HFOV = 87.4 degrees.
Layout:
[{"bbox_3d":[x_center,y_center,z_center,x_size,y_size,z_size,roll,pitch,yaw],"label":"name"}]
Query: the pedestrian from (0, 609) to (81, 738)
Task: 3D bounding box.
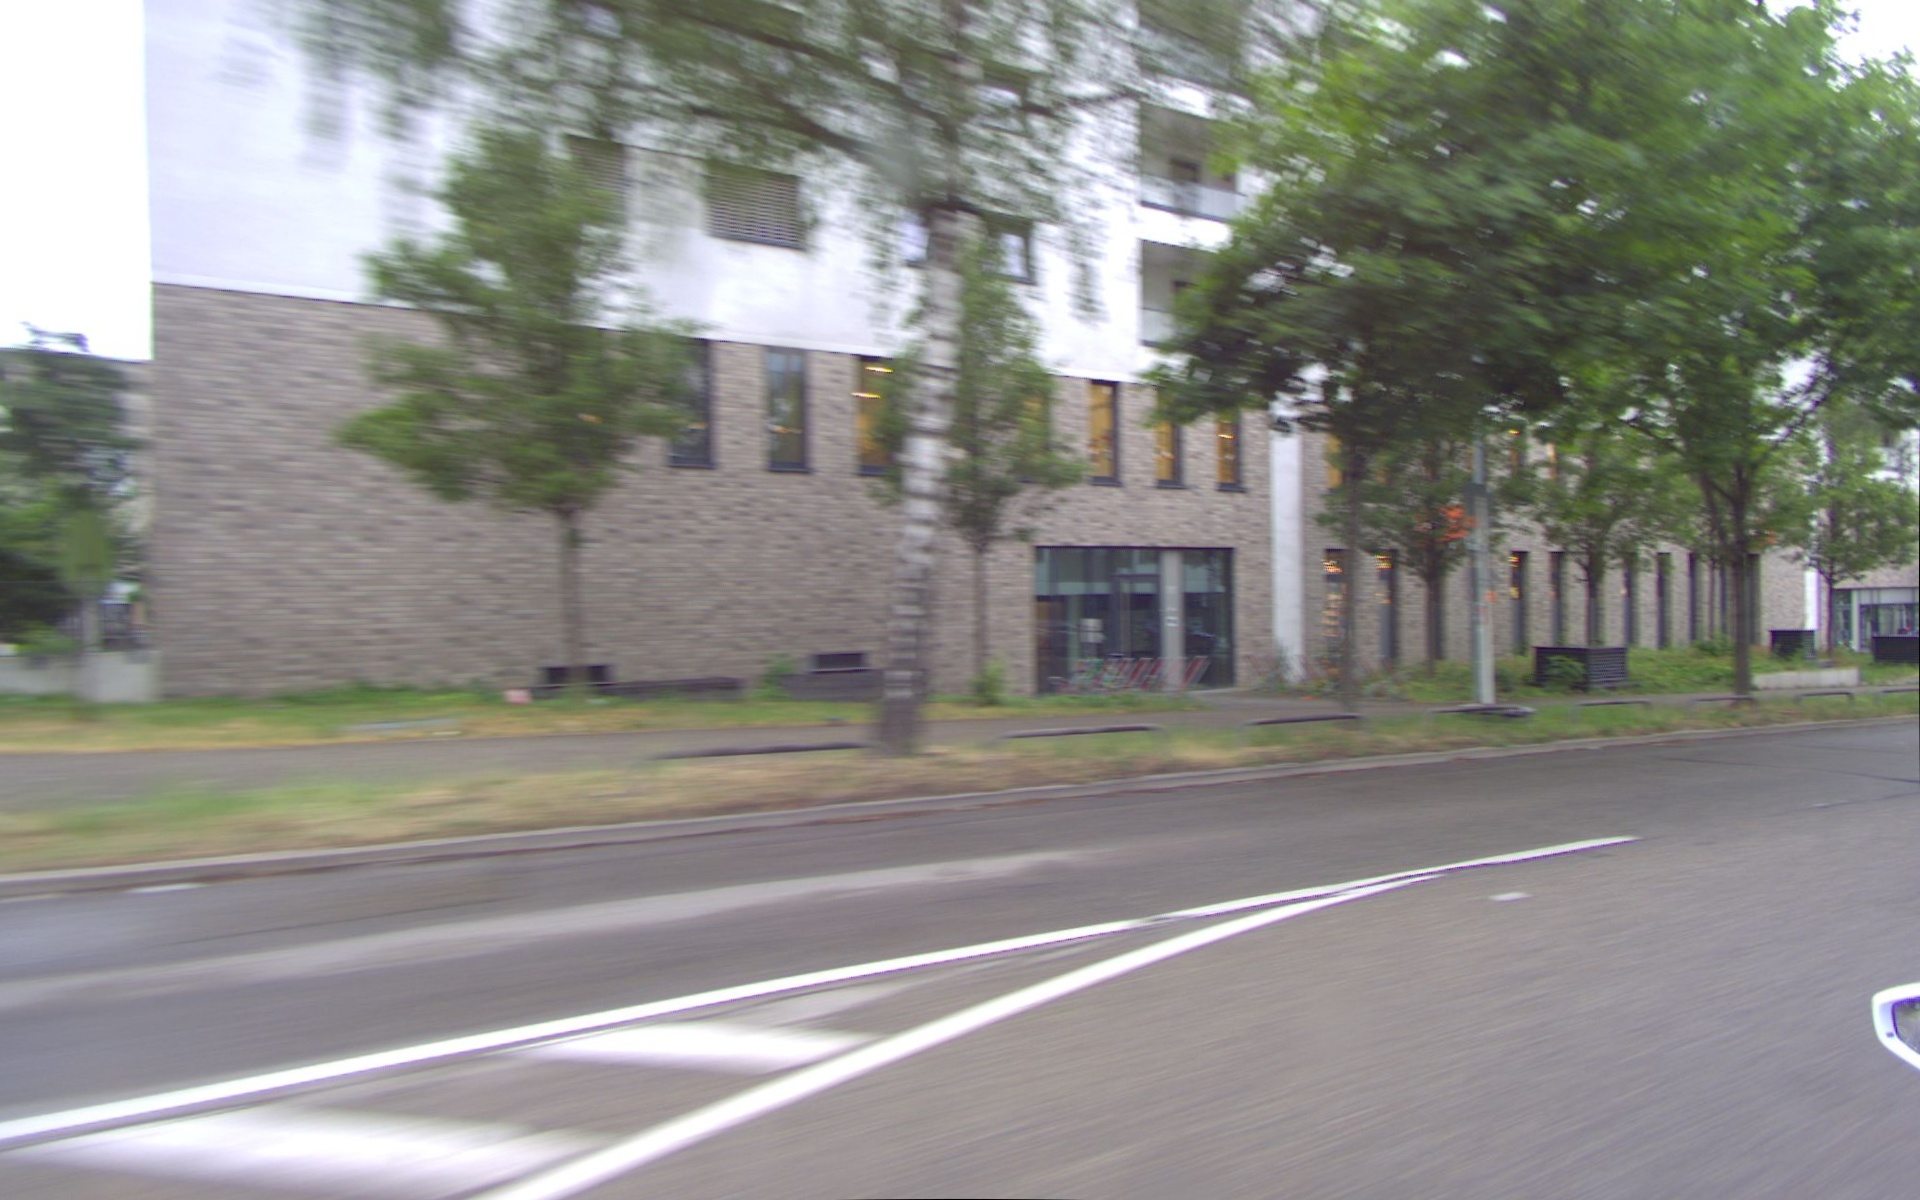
[{"bbox_3d":[-15.348,1.183,16.622,1.107,2.040,0.876,1,0,-36],"label":"pedestrian"}]
